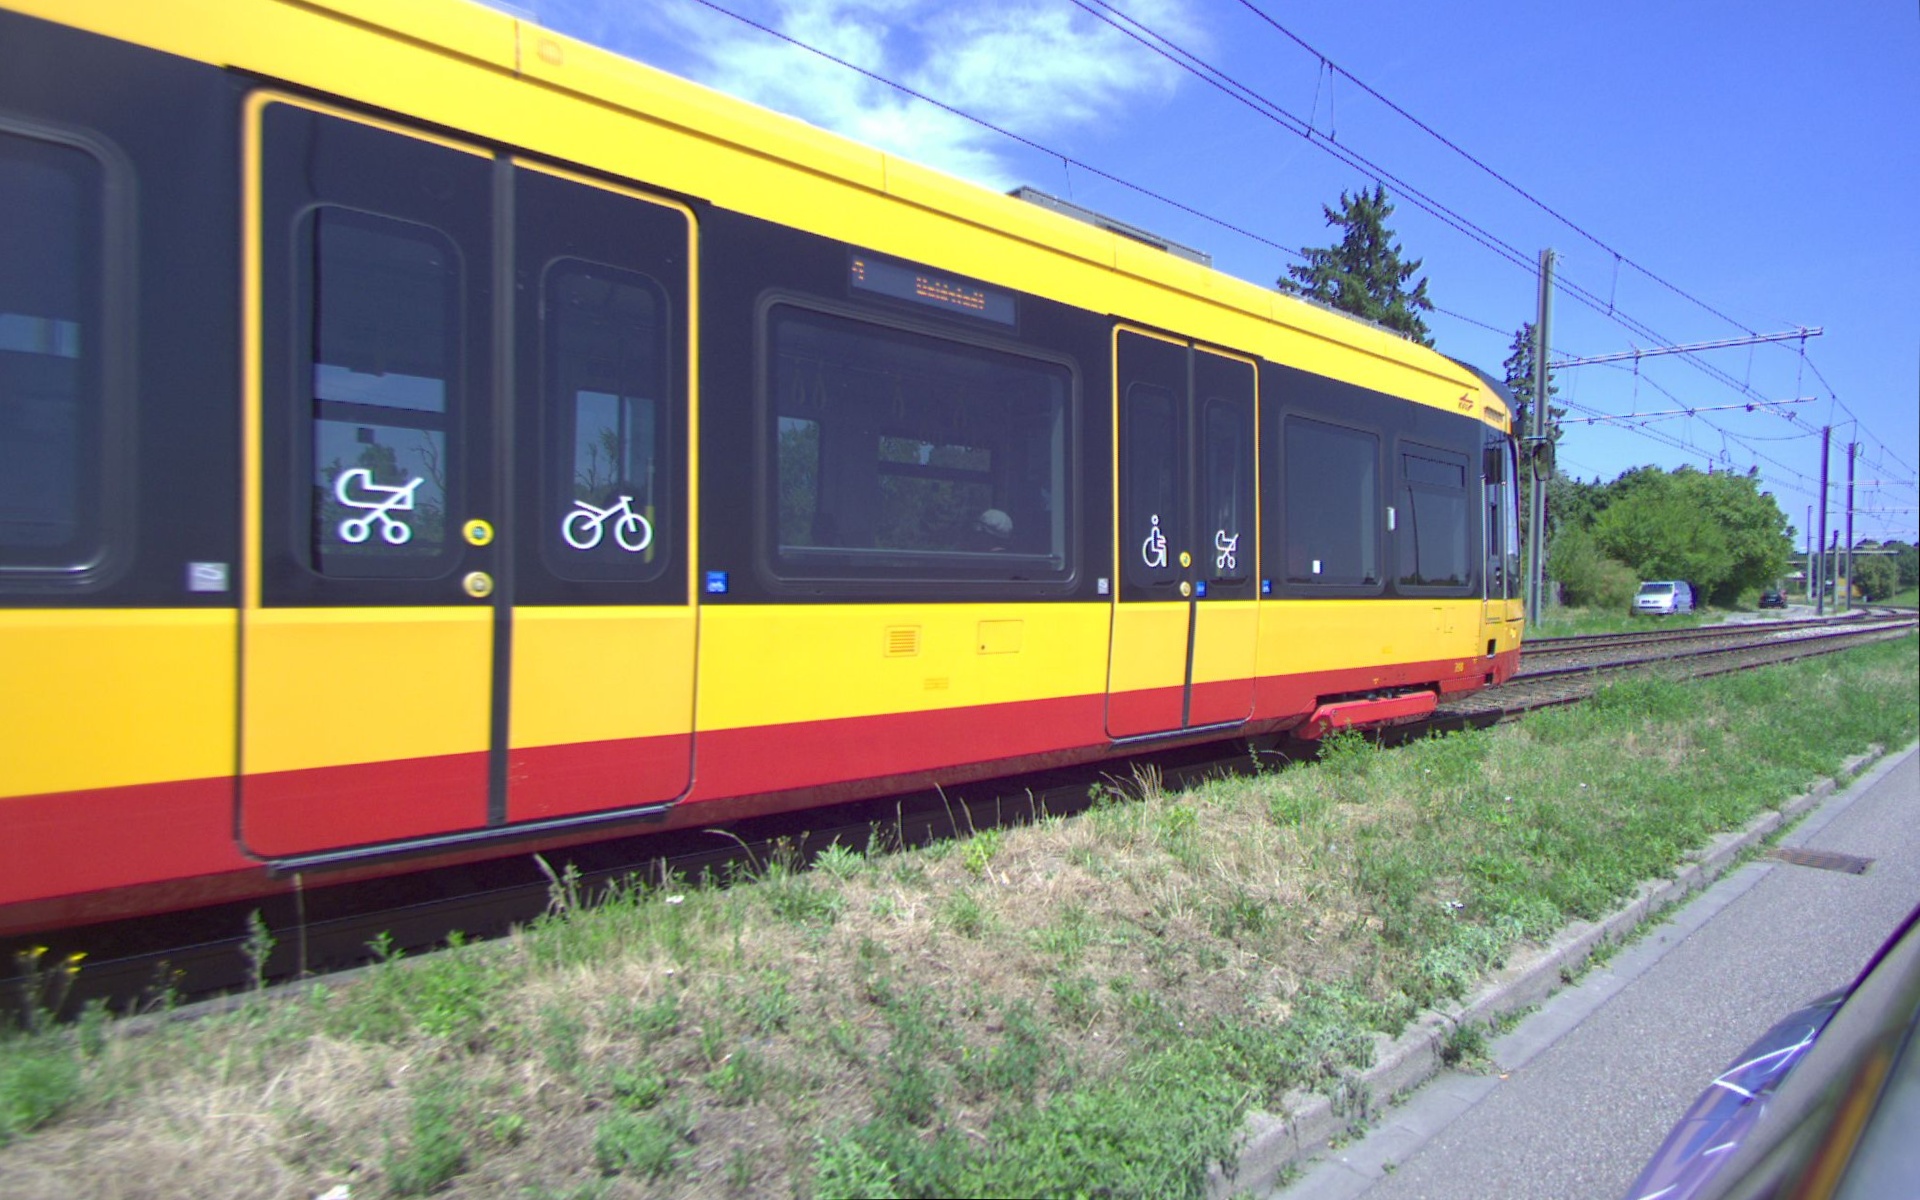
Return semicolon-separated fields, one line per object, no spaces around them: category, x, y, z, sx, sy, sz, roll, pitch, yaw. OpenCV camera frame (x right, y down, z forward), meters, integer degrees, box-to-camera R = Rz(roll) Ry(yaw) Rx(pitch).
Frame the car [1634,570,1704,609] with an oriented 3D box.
car;37.536;-0.613;53.519;4.984;1.905;2.039;-2;3;-43

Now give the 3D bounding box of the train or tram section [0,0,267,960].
train or tram section;-5.359;-0.934;1.755;6.612;3.759;2.566;-2;3;-41

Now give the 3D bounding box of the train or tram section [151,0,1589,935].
train or tram section;1.306;-1.103;7.535;11.358;3.812;2.434;-2;3;-41

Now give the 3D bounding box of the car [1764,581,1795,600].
car;70.978;-0.834;87.625;1.796;1.443;4.669;2;3;42
